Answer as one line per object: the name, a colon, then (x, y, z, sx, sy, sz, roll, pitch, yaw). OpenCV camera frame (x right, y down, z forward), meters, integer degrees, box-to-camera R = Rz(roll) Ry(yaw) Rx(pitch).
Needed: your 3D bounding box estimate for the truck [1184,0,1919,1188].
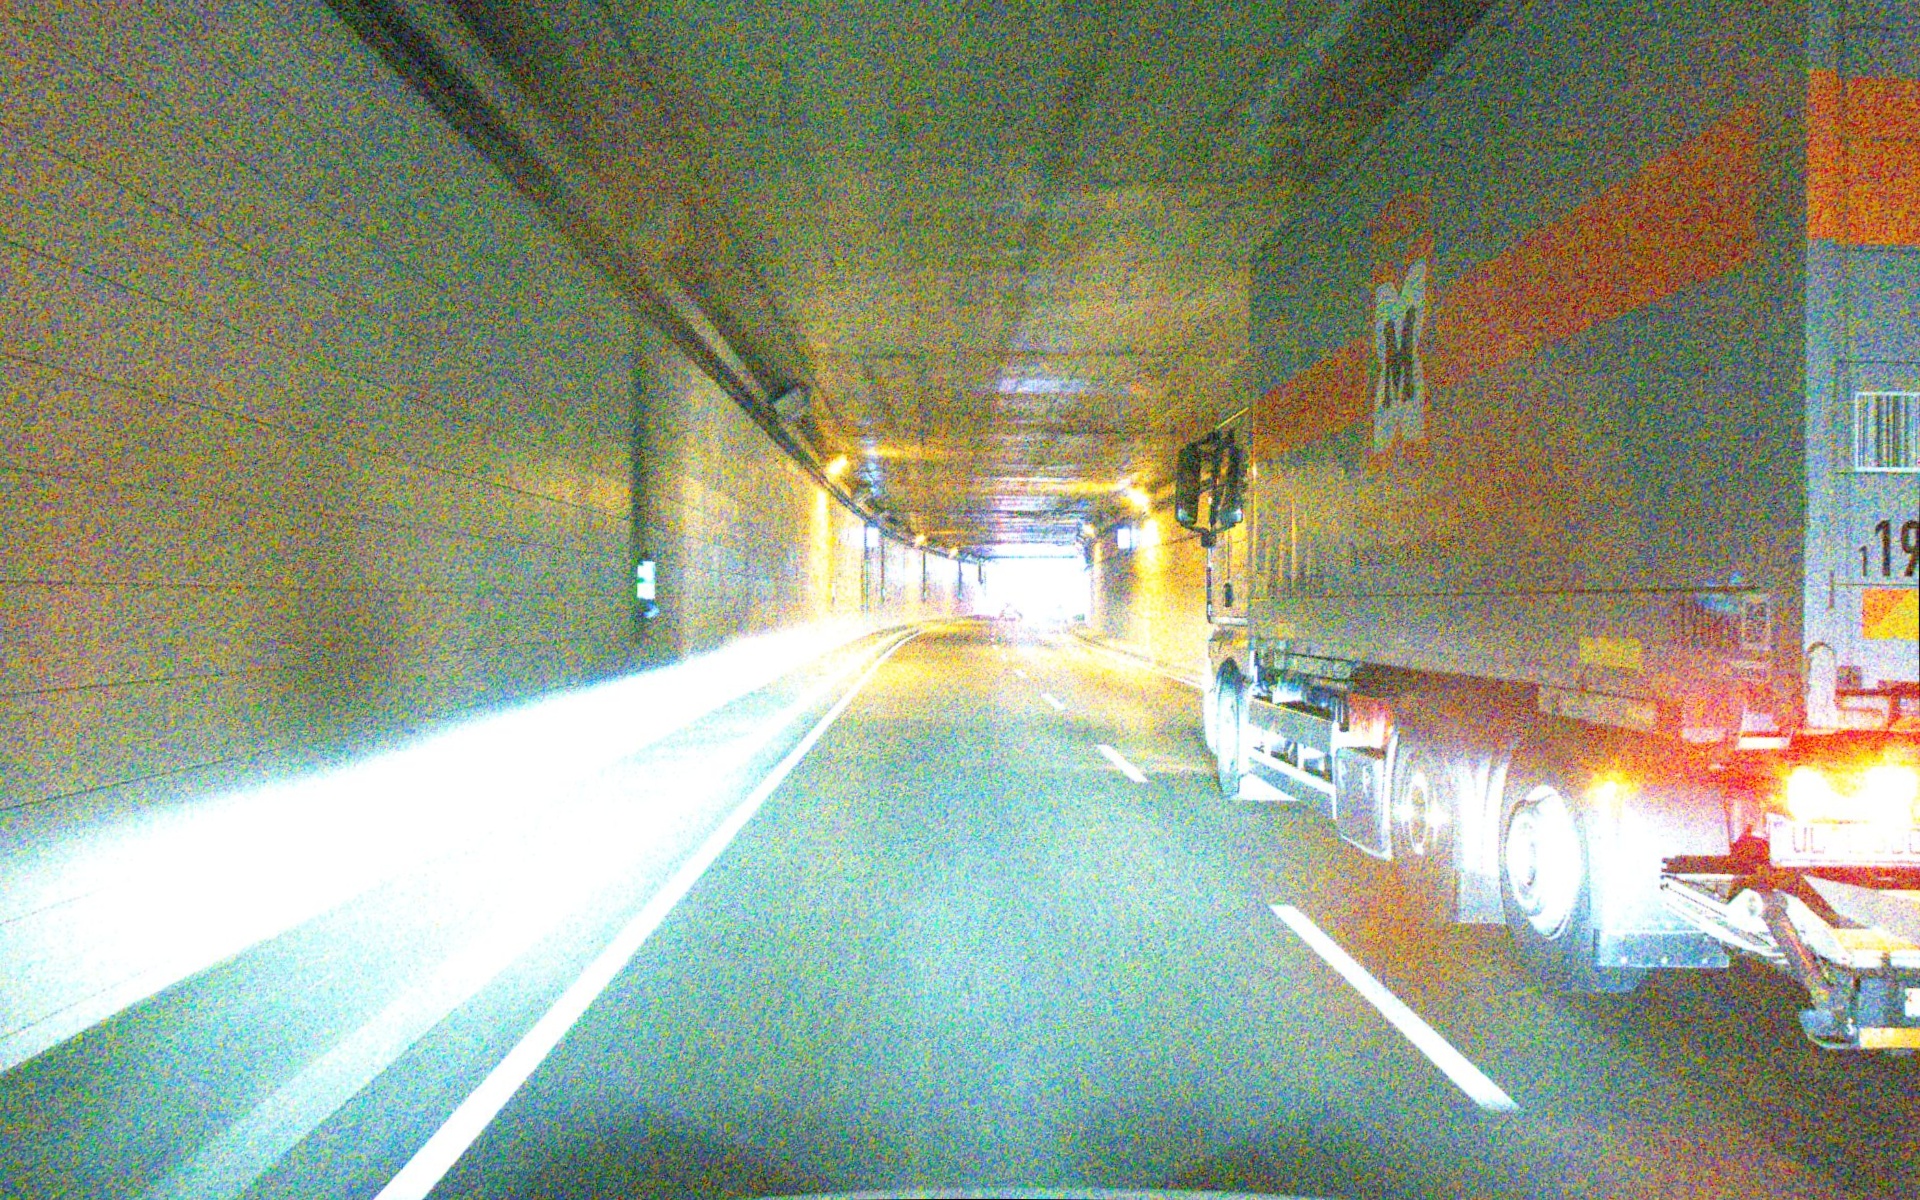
truck: (3.457, -0.523, 9.162, 2.830, 3.982, 9.906, 0, 0, -1)

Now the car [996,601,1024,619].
car: (3.962, 0.764, 129.573, 1.802, 1.413, 4.003, 0, 0, 8)

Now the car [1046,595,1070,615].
car: (8.816, 0.423, 148.743, 1.829, 1.763, 4.003, 0, 0, 8)
